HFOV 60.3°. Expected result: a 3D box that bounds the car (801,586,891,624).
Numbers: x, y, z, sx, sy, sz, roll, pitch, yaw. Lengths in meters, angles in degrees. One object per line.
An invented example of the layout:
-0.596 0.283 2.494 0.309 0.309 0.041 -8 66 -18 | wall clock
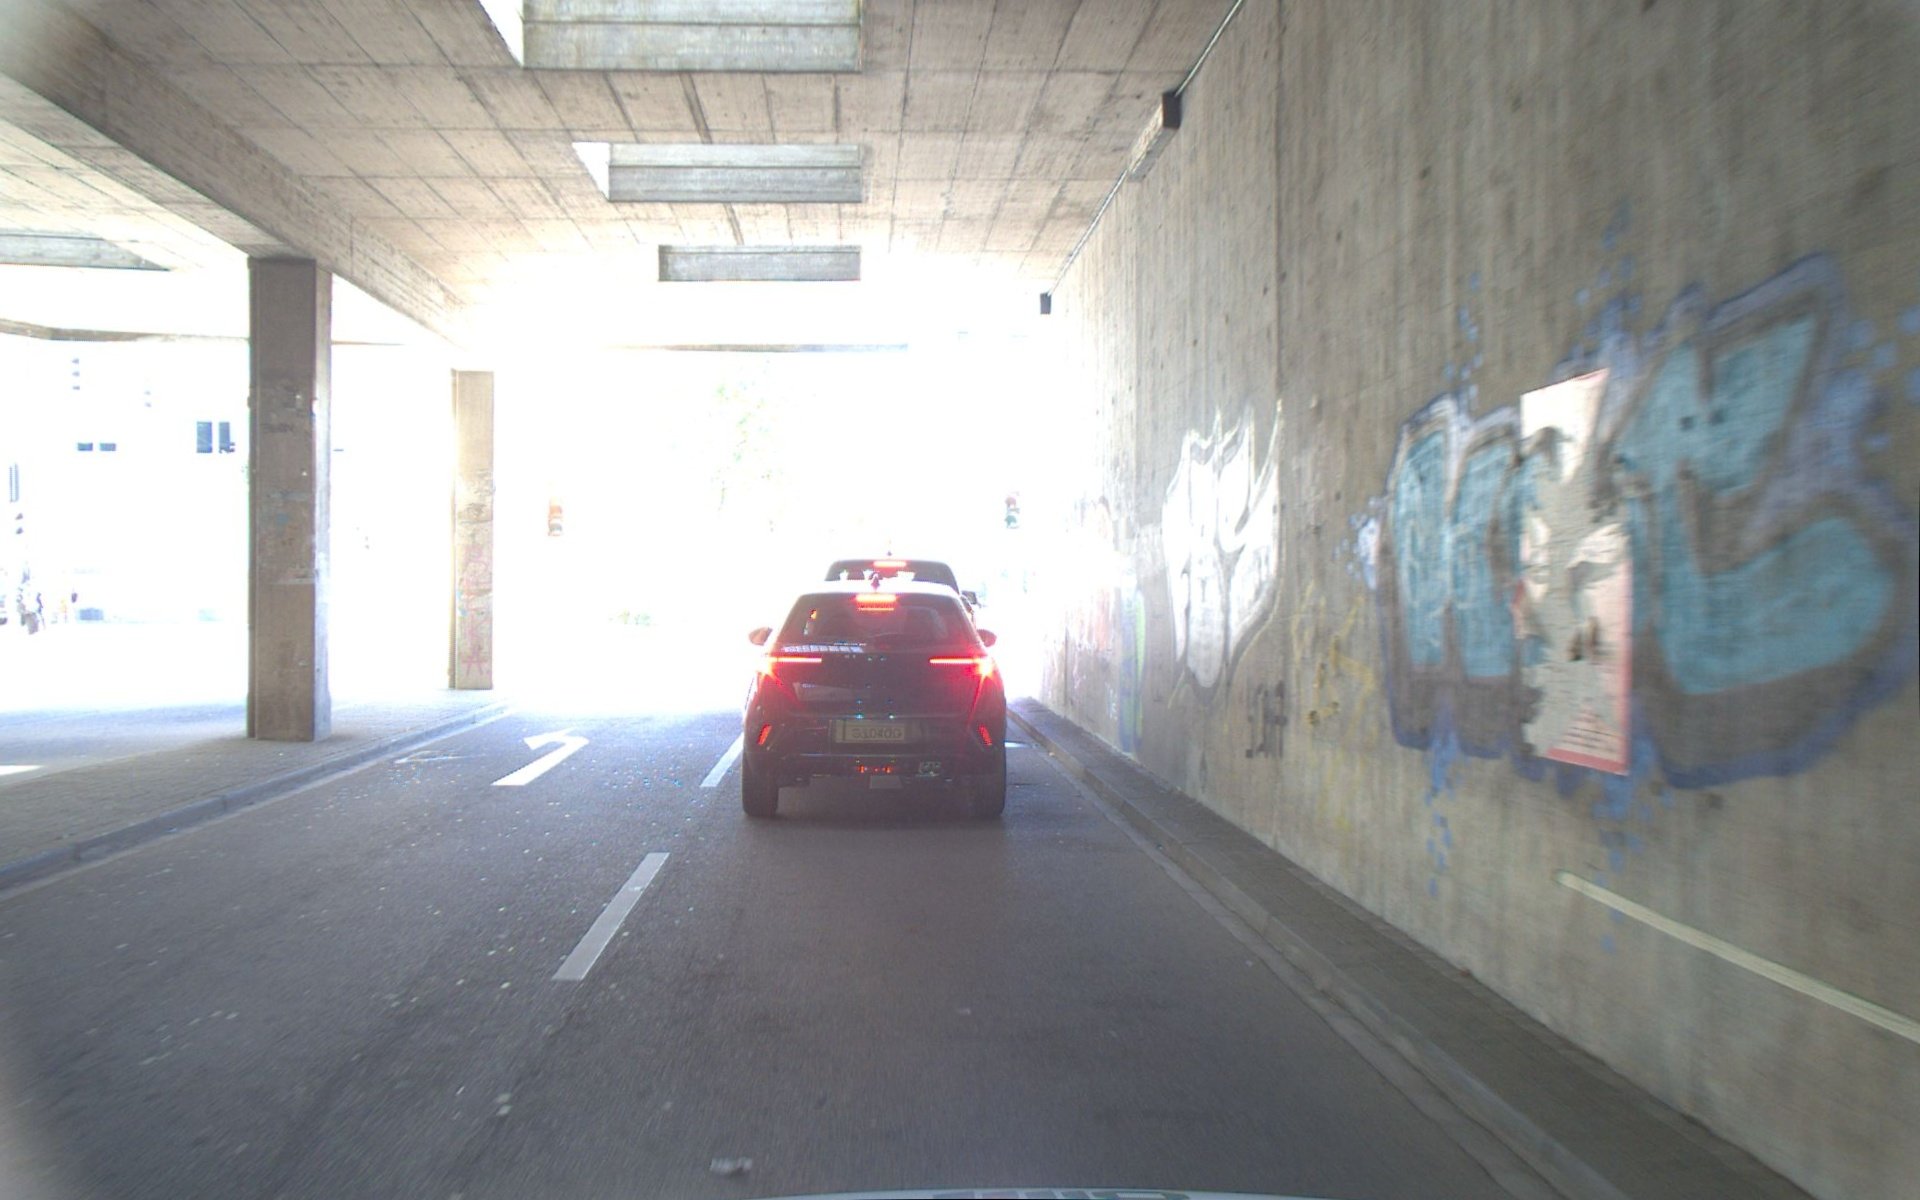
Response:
-5.424 0.222 78.944 4.064 1.769 2.001 0 0 3 | car

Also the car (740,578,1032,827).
-0.560 0.617 12.302 1.790 1.527 4.208 0 0 -3 | car

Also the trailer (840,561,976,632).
-1.498 -0.106 49.096 3.904 2.049 2.000 0 0 1 | trailer

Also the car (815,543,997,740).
-0.669 0.383 18.445 1.779 1.915 4.582 0 0 -4 | car

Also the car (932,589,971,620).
-0.575 0.304 111.061 1.951 2.049 4.272 0 0 9 | car

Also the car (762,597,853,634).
-6.845 0.700 74.260 3.905 1.601 1.640 0 0 0 | car

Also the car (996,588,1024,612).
4.404 0.010 144.629 1.951 2.049 4.272 0 0 9 | car

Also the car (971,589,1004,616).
2.189 0.192 130.451 1.951 2.049 4.272 0 0 9 | car

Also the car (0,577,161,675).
-20.729 0.555 37.321 4.391 2.048 1.999 1 2 -4 | car

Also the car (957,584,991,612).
1.052 -0.148 121.379 1.951 2.049 4.272 0 0 9 | car
